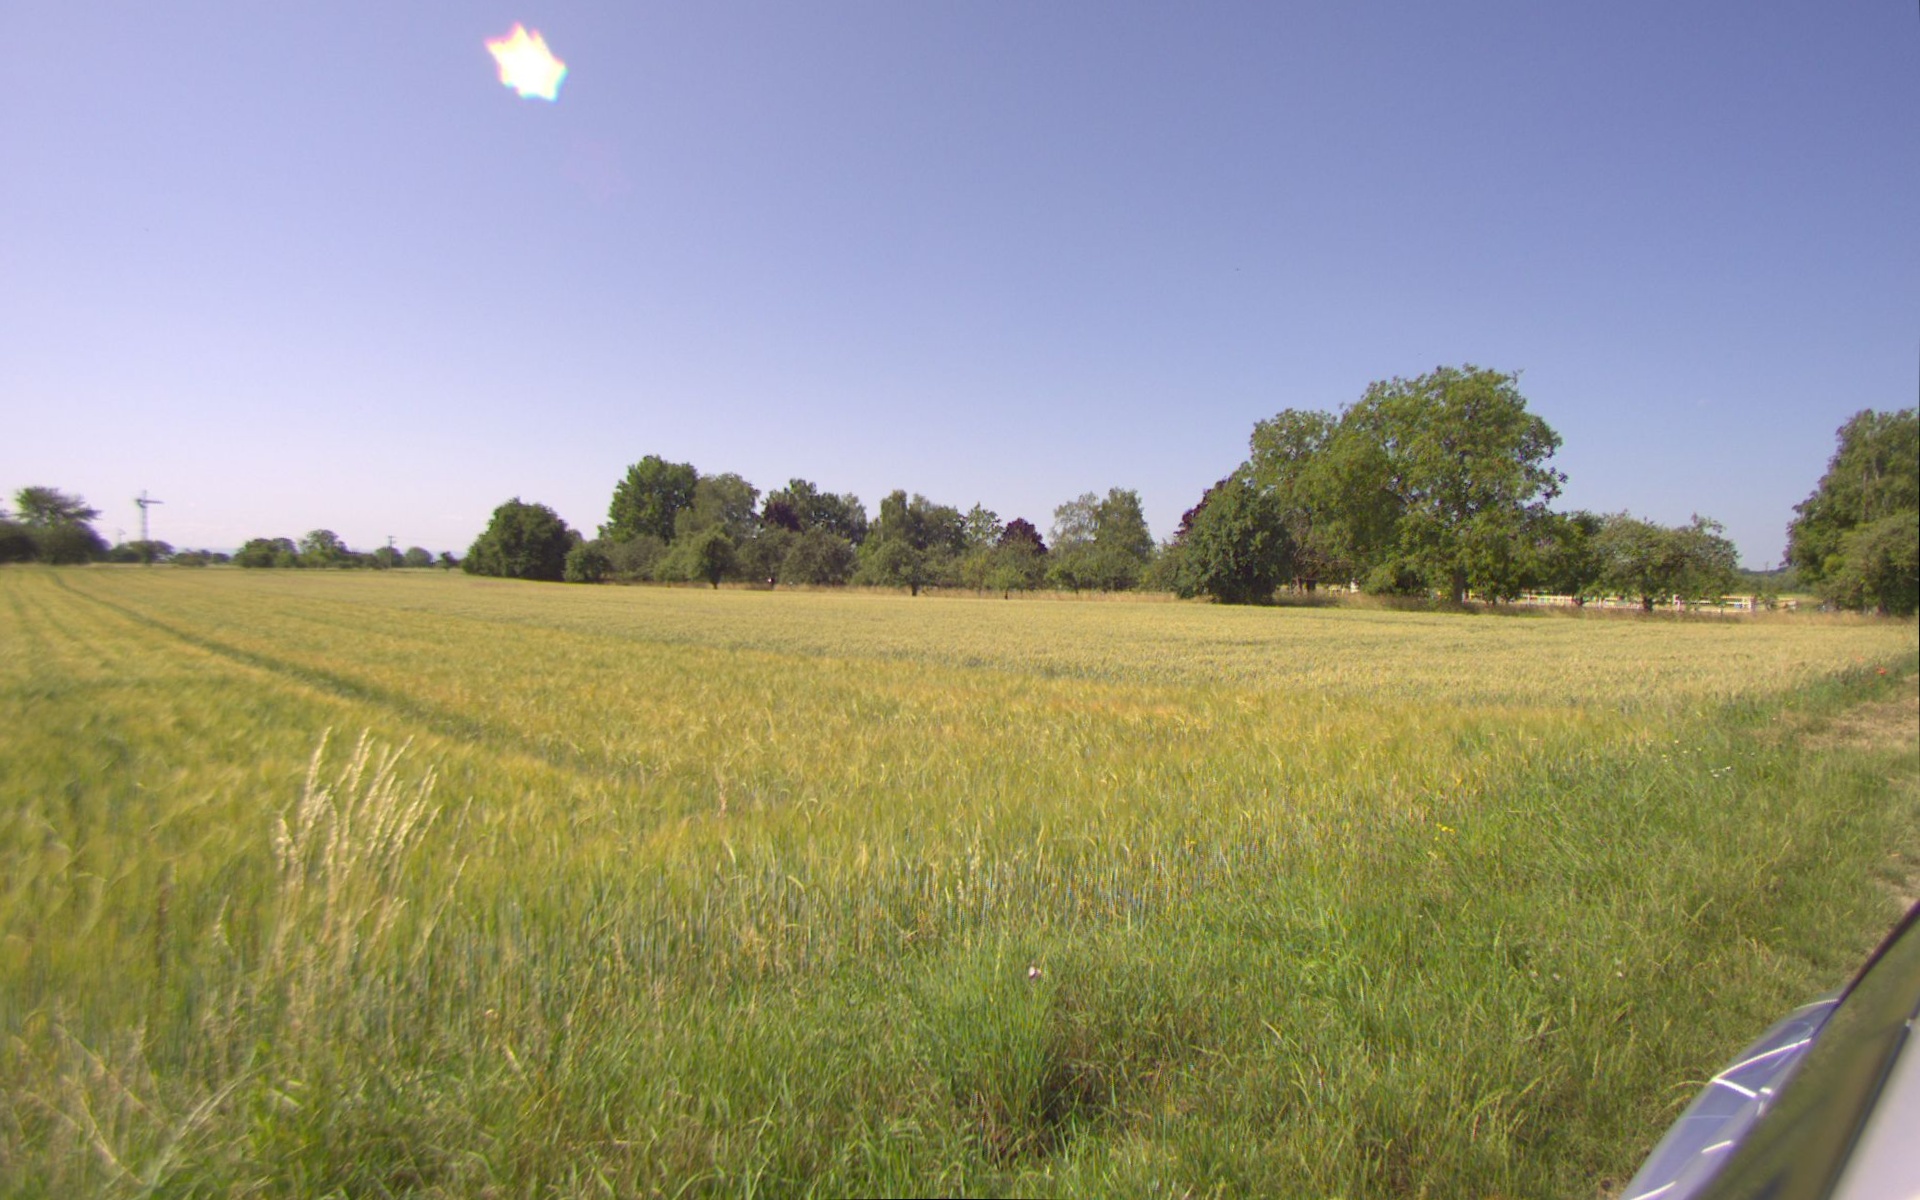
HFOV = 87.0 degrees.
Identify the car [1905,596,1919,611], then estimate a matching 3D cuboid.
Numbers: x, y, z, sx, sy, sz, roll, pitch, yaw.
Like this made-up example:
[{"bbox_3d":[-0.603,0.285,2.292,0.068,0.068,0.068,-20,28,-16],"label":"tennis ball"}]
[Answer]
[{"bbox_3d":[88.669,0.338,93.471,1.715,1.336,3.689,2,1,40],"label":"car"}]
